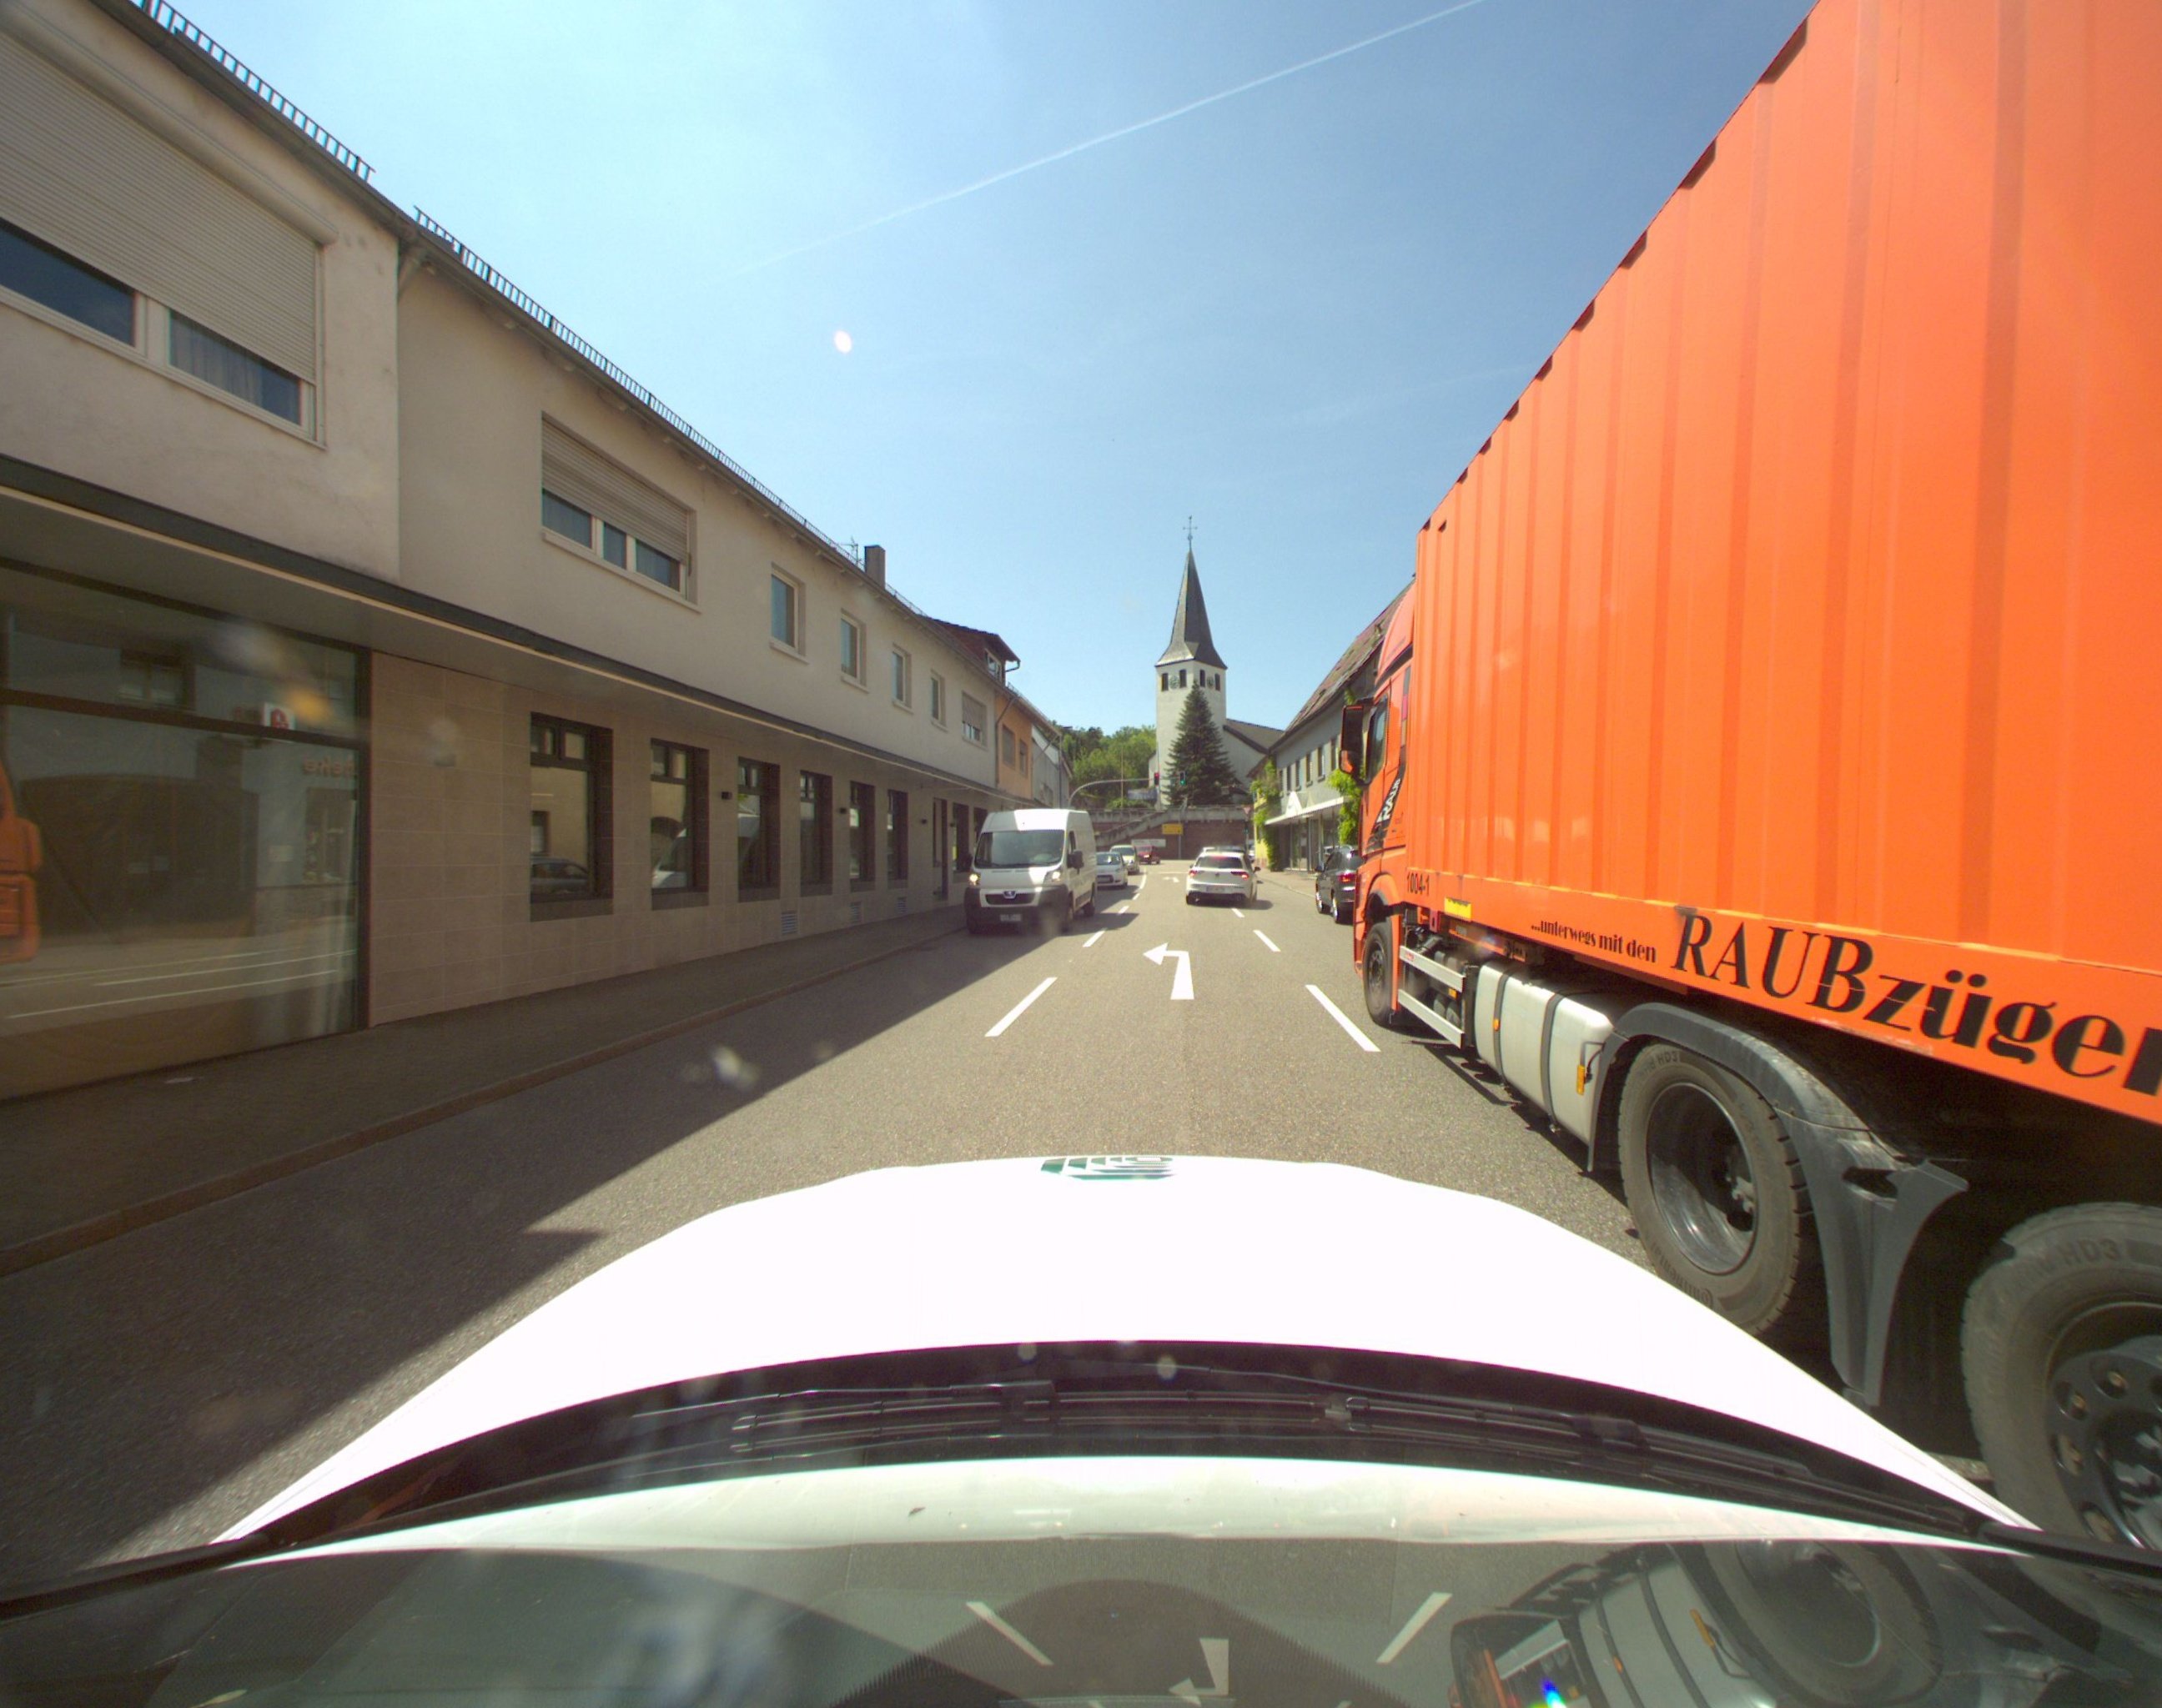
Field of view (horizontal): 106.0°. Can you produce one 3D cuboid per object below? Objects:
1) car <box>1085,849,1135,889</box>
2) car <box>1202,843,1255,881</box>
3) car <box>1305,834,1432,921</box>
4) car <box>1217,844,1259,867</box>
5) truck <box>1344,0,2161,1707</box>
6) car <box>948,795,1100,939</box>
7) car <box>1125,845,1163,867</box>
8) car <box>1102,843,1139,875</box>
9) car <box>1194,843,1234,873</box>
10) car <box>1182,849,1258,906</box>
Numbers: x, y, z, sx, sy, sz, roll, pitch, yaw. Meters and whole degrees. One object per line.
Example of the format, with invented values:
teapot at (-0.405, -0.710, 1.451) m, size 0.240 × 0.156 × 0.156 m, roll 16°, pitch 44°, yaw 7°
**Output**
car at (1.211, 0.551, 32.674) m, size 1.587 × 1.455 × 3.455 m, roll -3°, pitch 0°, yaw 8°
car at (6.728, 0.319, 37.638) m, size 1.940 × 1.582 × 4.331 m, roll 0°, pitch 2°, yaw 4°
car at (6.458, 0.488, 18.757) m, size 1.982 × 1.708 × 4.111 m, roll -3°, pitch 0°, yaw 9°
car at (12.354, 0.071, 63.977) m, size 1.931 × 1.582 × 4.353 m, roll 1°, pitch 2°, yaw 30°
truck at (3.438, -0.501, 3.761) m, size 2.593 × 3.945 × 10.016 m, roll -1°, pitch 0°, yaw 8°
car at (-0.987, 0.224, 17.594) m, size 2.128 × 2.569 × 5.405 m, roll -2°, pitch 0°, yaw 8°
car at (4.795, 0.137, 61.619) m, size 1.703 × 1.408 × 4.307 m, roll -2°, pitch 1°, yaw 21°
car at (2.234, 0.232, 45.175) m, size 1.670 × 1.617 × 3.829 m, roll -3°, pitch 1°, yaw 7°
car at (7.841, 0.184, 48.354) m, size 1.940 × 1.582 × 4.331 m, roll 0°, pitch 2°, yaw 4°
car at (4.002, 0.593, 22.998) m, size 1.770 × 1.458 × 3.878 m, roll 0°, pitch 0°, yaw 14°
